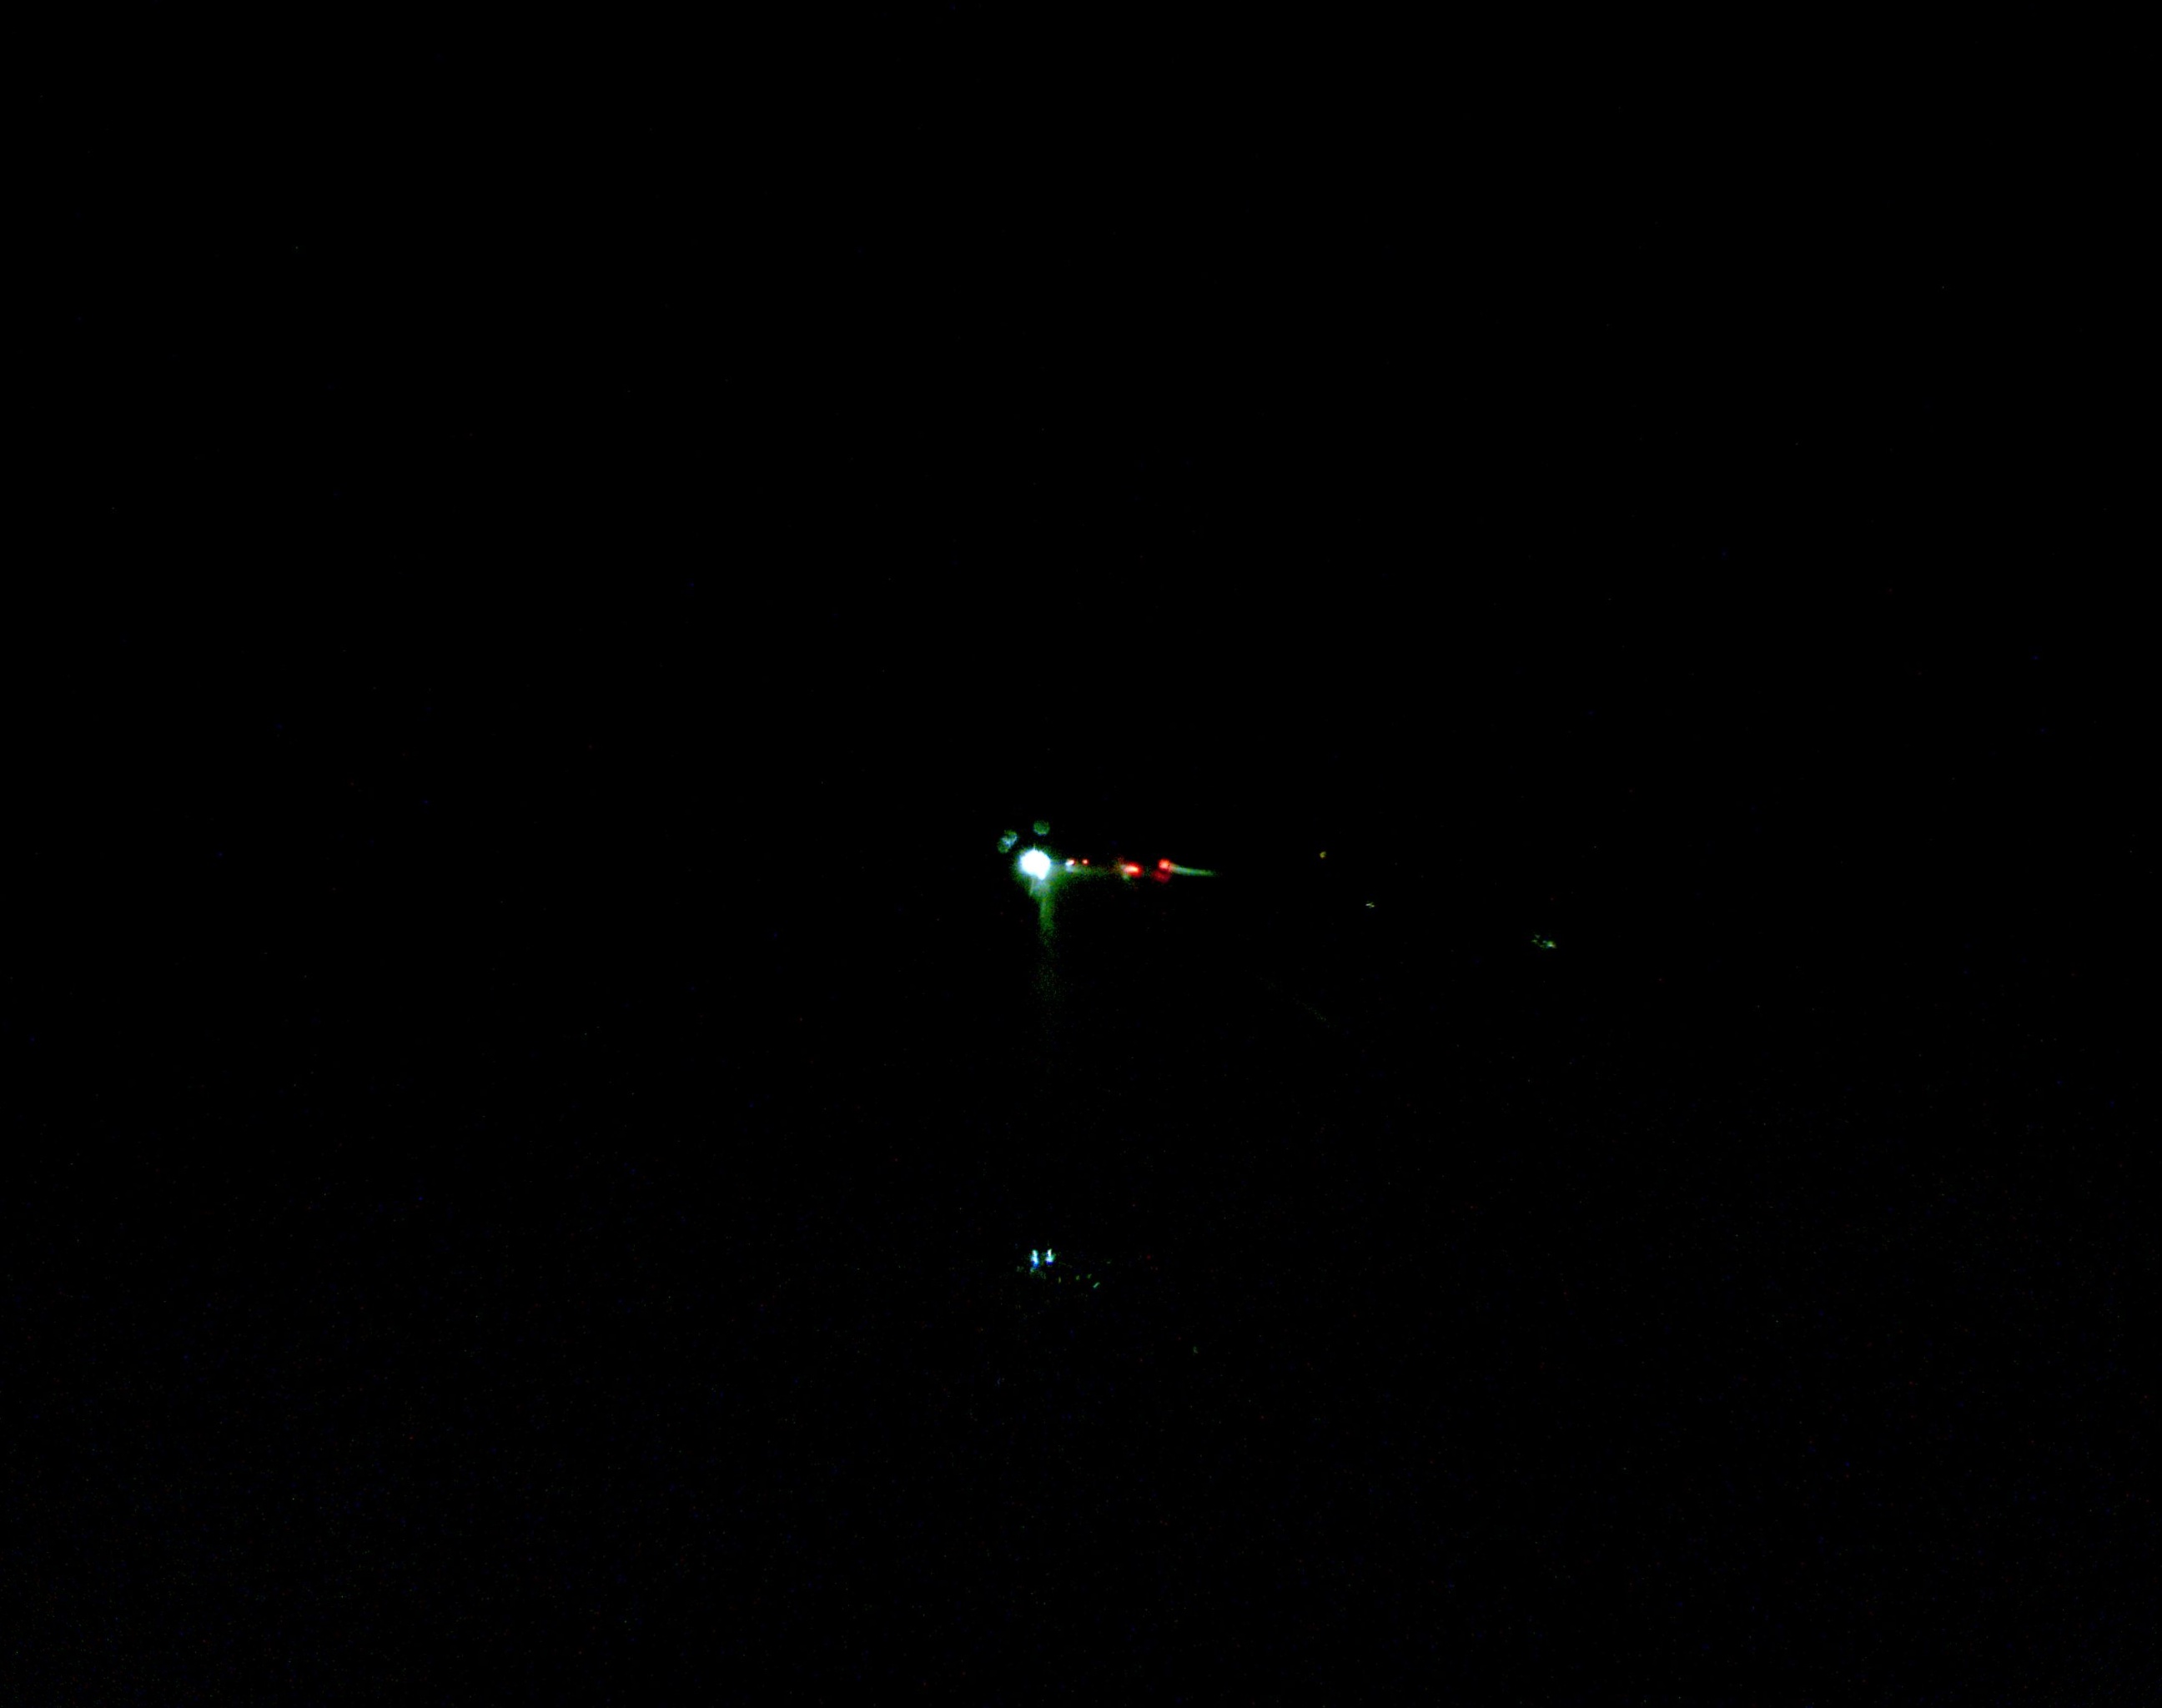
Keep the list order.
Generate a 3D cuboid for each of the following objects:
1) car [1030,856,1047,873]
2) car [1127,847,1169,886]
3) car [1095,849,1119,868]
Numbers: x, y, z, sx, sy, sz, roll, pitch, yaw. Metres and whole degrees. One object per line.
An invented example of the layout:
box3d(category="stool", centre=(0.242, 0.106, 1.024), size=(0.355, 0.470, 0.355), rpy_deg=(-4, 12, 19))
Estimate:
box3d(category="car", centre=(-4.904, 1.138, 87.436), size=(1.798, 1.839, 3.641), rpy_deg=(-2, 0, -4))
box3d(category="car", centre=(3.462, 0.592, 39.804), size=(1.784, 1.833, 4.160), rpy_deg=(-2, 1, 0))
box3d(category="car", centre=(2.645, 0.439, 77.098), size=(1.999, 1.839, 4.904), rpy_deg=(-2, 1, -2))
